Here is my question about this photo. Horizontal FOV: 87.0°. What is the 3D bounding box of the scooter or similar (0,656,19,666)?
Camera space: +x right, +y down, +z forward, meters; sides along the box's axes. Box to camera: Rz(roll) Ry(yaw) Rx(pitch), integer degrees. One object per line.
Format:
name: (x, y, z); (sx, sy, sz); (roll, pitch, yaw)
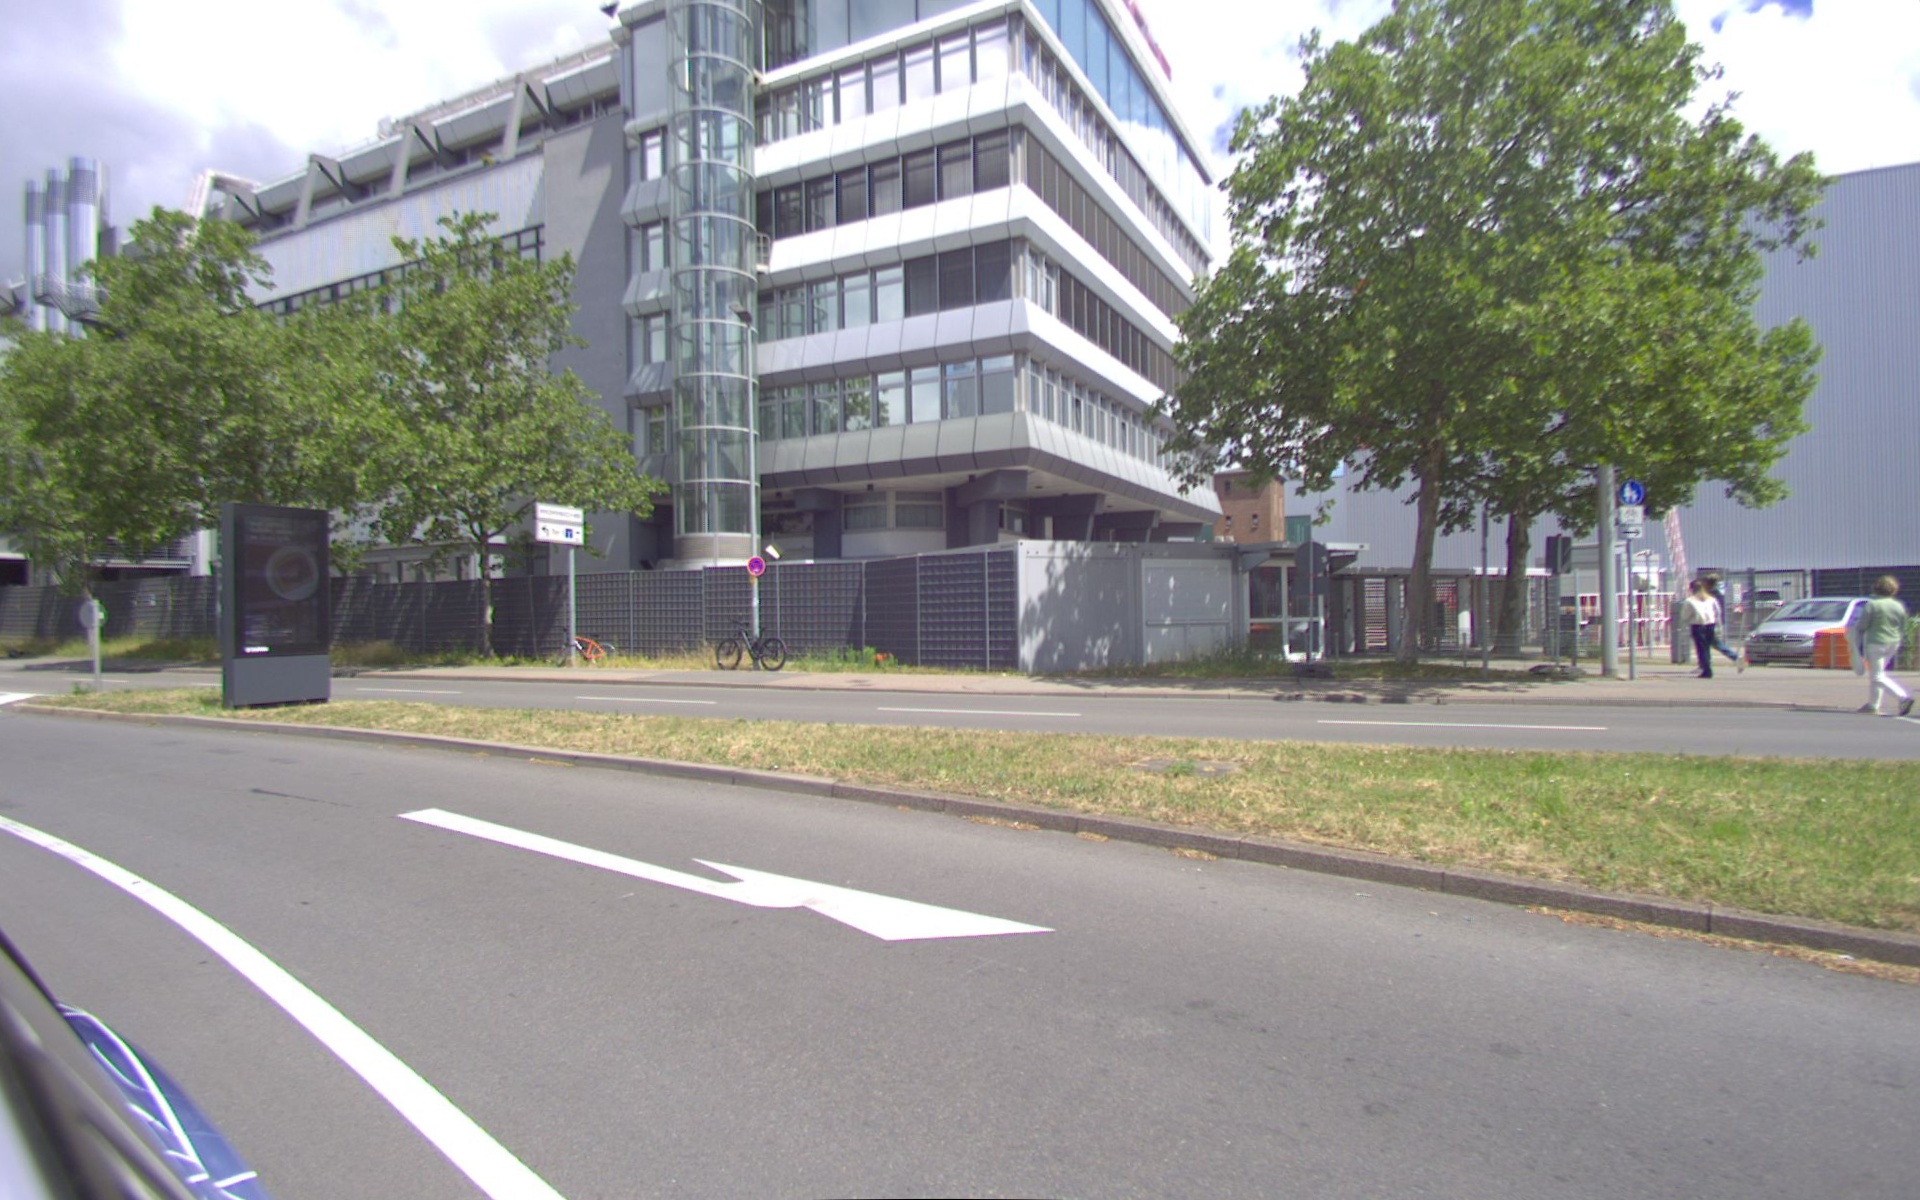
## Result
scooter or similar: (-36.866, 2.352, 39.182); (0.530, 0.325, 1.275); (-1, 0, -38)

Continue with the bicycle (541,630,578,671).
bicycle: (-10.450, 1.304, 26.414); (1.250, 1.013, 0.293); (0, 1, 38)

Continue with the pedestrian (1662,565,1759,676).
pedestrian: (12.453, 0.331, 16.821); (1.025, 1.787, 0.862); (-1, 1, 14)

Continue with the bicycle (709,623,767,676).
bicycle: (-5.035, 1.113, 22.946); (1.479, 1.140, 0.294); (0, 1, 31)

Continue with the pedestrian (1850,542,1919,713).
pedestrian: (11.814, 0.321, 12.656); (0.941, 2.070, 0.952); (-1, 1, -44)

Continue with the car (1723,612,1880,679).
car: (18.856, 0.980, 22.636); (3.934, 1.370, 1.725); (0, -2, -35)

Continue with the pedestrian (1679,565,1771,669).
pedestrian: (13.564, 0.292, 17.982); (1.025, 1.787, 0.862); (-1, 1, 14)
